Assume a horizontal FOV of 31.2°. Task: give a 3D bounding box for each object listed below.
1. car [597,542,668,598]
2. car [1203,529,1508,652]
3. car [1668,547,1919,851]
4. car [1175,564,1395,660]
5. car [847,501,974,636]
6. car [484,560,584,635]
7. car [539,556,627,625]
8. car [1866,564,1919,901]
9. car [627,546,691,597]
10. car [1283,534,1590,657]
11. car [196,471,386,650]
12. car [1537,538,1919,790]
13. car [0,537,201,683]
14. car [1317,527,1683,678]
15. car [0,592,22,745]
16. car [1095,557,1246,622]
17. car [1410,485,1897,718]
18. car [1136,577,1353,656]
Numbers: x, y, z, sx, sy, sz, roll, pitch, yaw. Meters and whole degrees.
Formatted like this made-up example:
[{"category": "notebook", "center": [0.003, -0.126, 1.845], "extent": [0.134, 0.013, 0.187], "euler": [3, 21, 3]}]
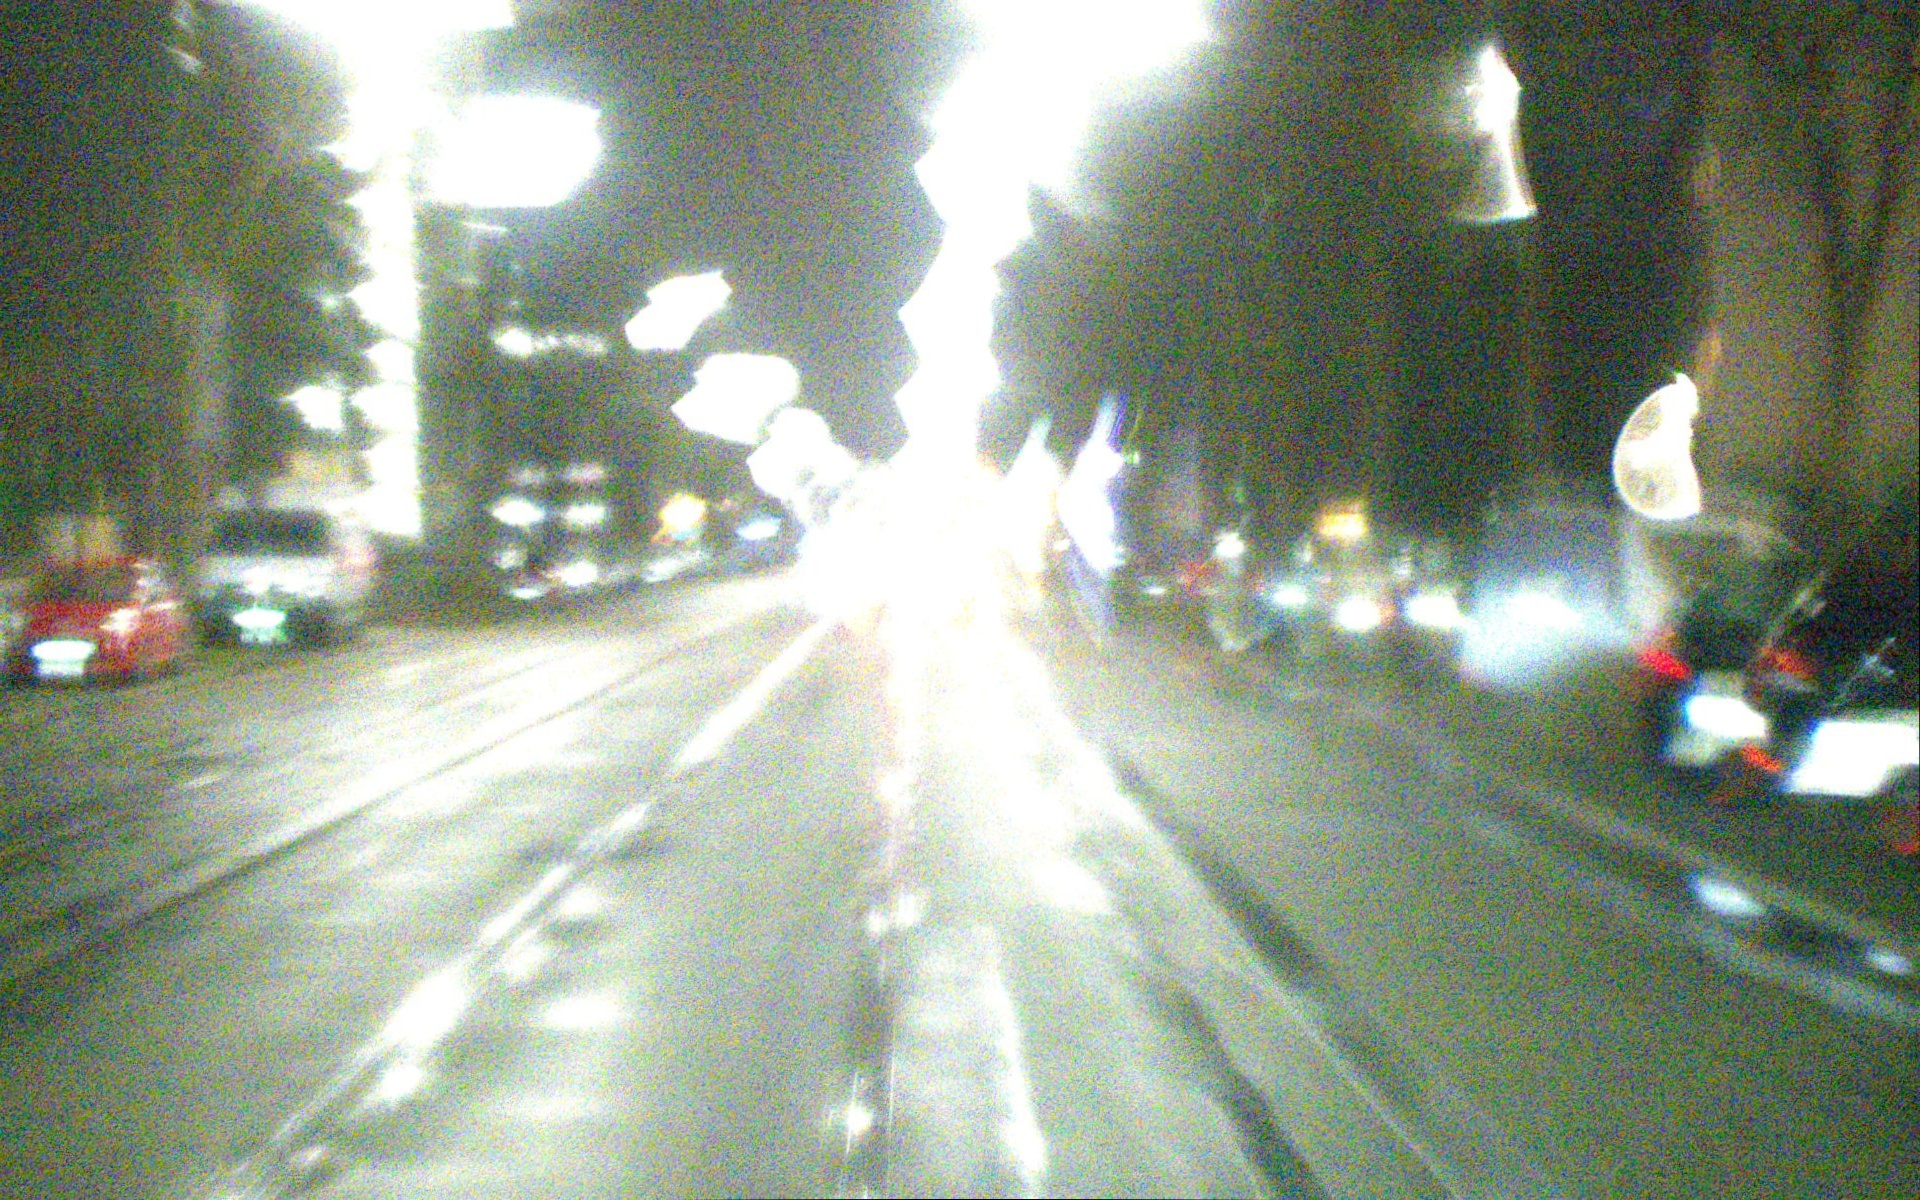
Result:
[{"category": "car", "center": [-10.857, -0.992, 114.277], "extent": [2.022, 1.755, 4.000], "euler": [2, 0, -1]}, {"category": "car", "center": [5.210, -0.125, 45.054], "extent": [3.878, 1.528, 1.821], "euler": [0, 1, -42]}, {"category": "car", "center": [5.596, 0.462, 18.537], "extent": [1.806, 1.483, 3.846], "euler": [1, 1, 42]}, {"category": "car", "center": [5.867, 0.222, 61.848], "extent": [2.054, 1.618, 3.819], "euler": [2, 1, 41]}, {"category": "car", "center": [-0.993, -0.607, 65.437], "extent": [2.216, 2.433, 5.385], "euler": [1, 1, -3]}, {"category": "car", "center": [-10.654, -0.071, 86.290], "extent": [2.108, 1.758, 4.966], "euler": [2, 0, -3]}, {"category": "car", "center": [-10.381, -0.256, 94.908], "extent": [1.999, 1.779, 4.000], "euler": [2, 0, -1]}, {"category": "car", "center": [5.969, 0.617, 15.680], "extent": [3.779, 1.453, 1.769], "euler": [1, 1, -43]}, {"category": "car", "center": [-11.003, -1.036, 125.749], "extent": [2.022, 1.755, 4.000], "euler": [2, 0, -1]}, {"category": "car", "center": [5.930, -0.047, 42.558], "extent": [1.820, 1.428, 3.846], "euler": [2, 1, 44]}, {"category": "car", "center": [-10.069, -0.623, 52.144], "extent": [2.024, 2.490, 5.608], "euler": [2, 1, -3]}, {"category": "car", "center": [5.455, 0.383, 21.785], "extent": [1.599, 1.433, 3.825], "euler": [2, 1, 45]}, {"category": "car", "center": [-9.982, 0.085, 40.094], "extent": [1.640, 1.502, 3.620], "euler": [1, 2, -3]}, {"category": "car", "center": [5.709, -0.021, 35.981], "extent": [1.691, 1.399, 4.447], "euler": [2, 3, 41]}, {"category": "car", "center": [-9.733, 0.634, 31.036], "extent": [1.609, 1.423, 3.809], "euler": [1, 0, -3]}, {"category": "car", "center": [5.387, -0.258, 87.691], "extent": [1.909, 1.567, 3.953], "euler": [2, 1, 38]}, {"category": "car", "center": [6.021, 0.018, 29.622], "extent": [4.162, 1.833, 1.962], "euler": [1, 1, -42]}, {"category": "car", "center": [5.641, 0.332, 67.849], "extent": [4.237, 1.449, 1.950], "euler": [1, 1, -45]}]
